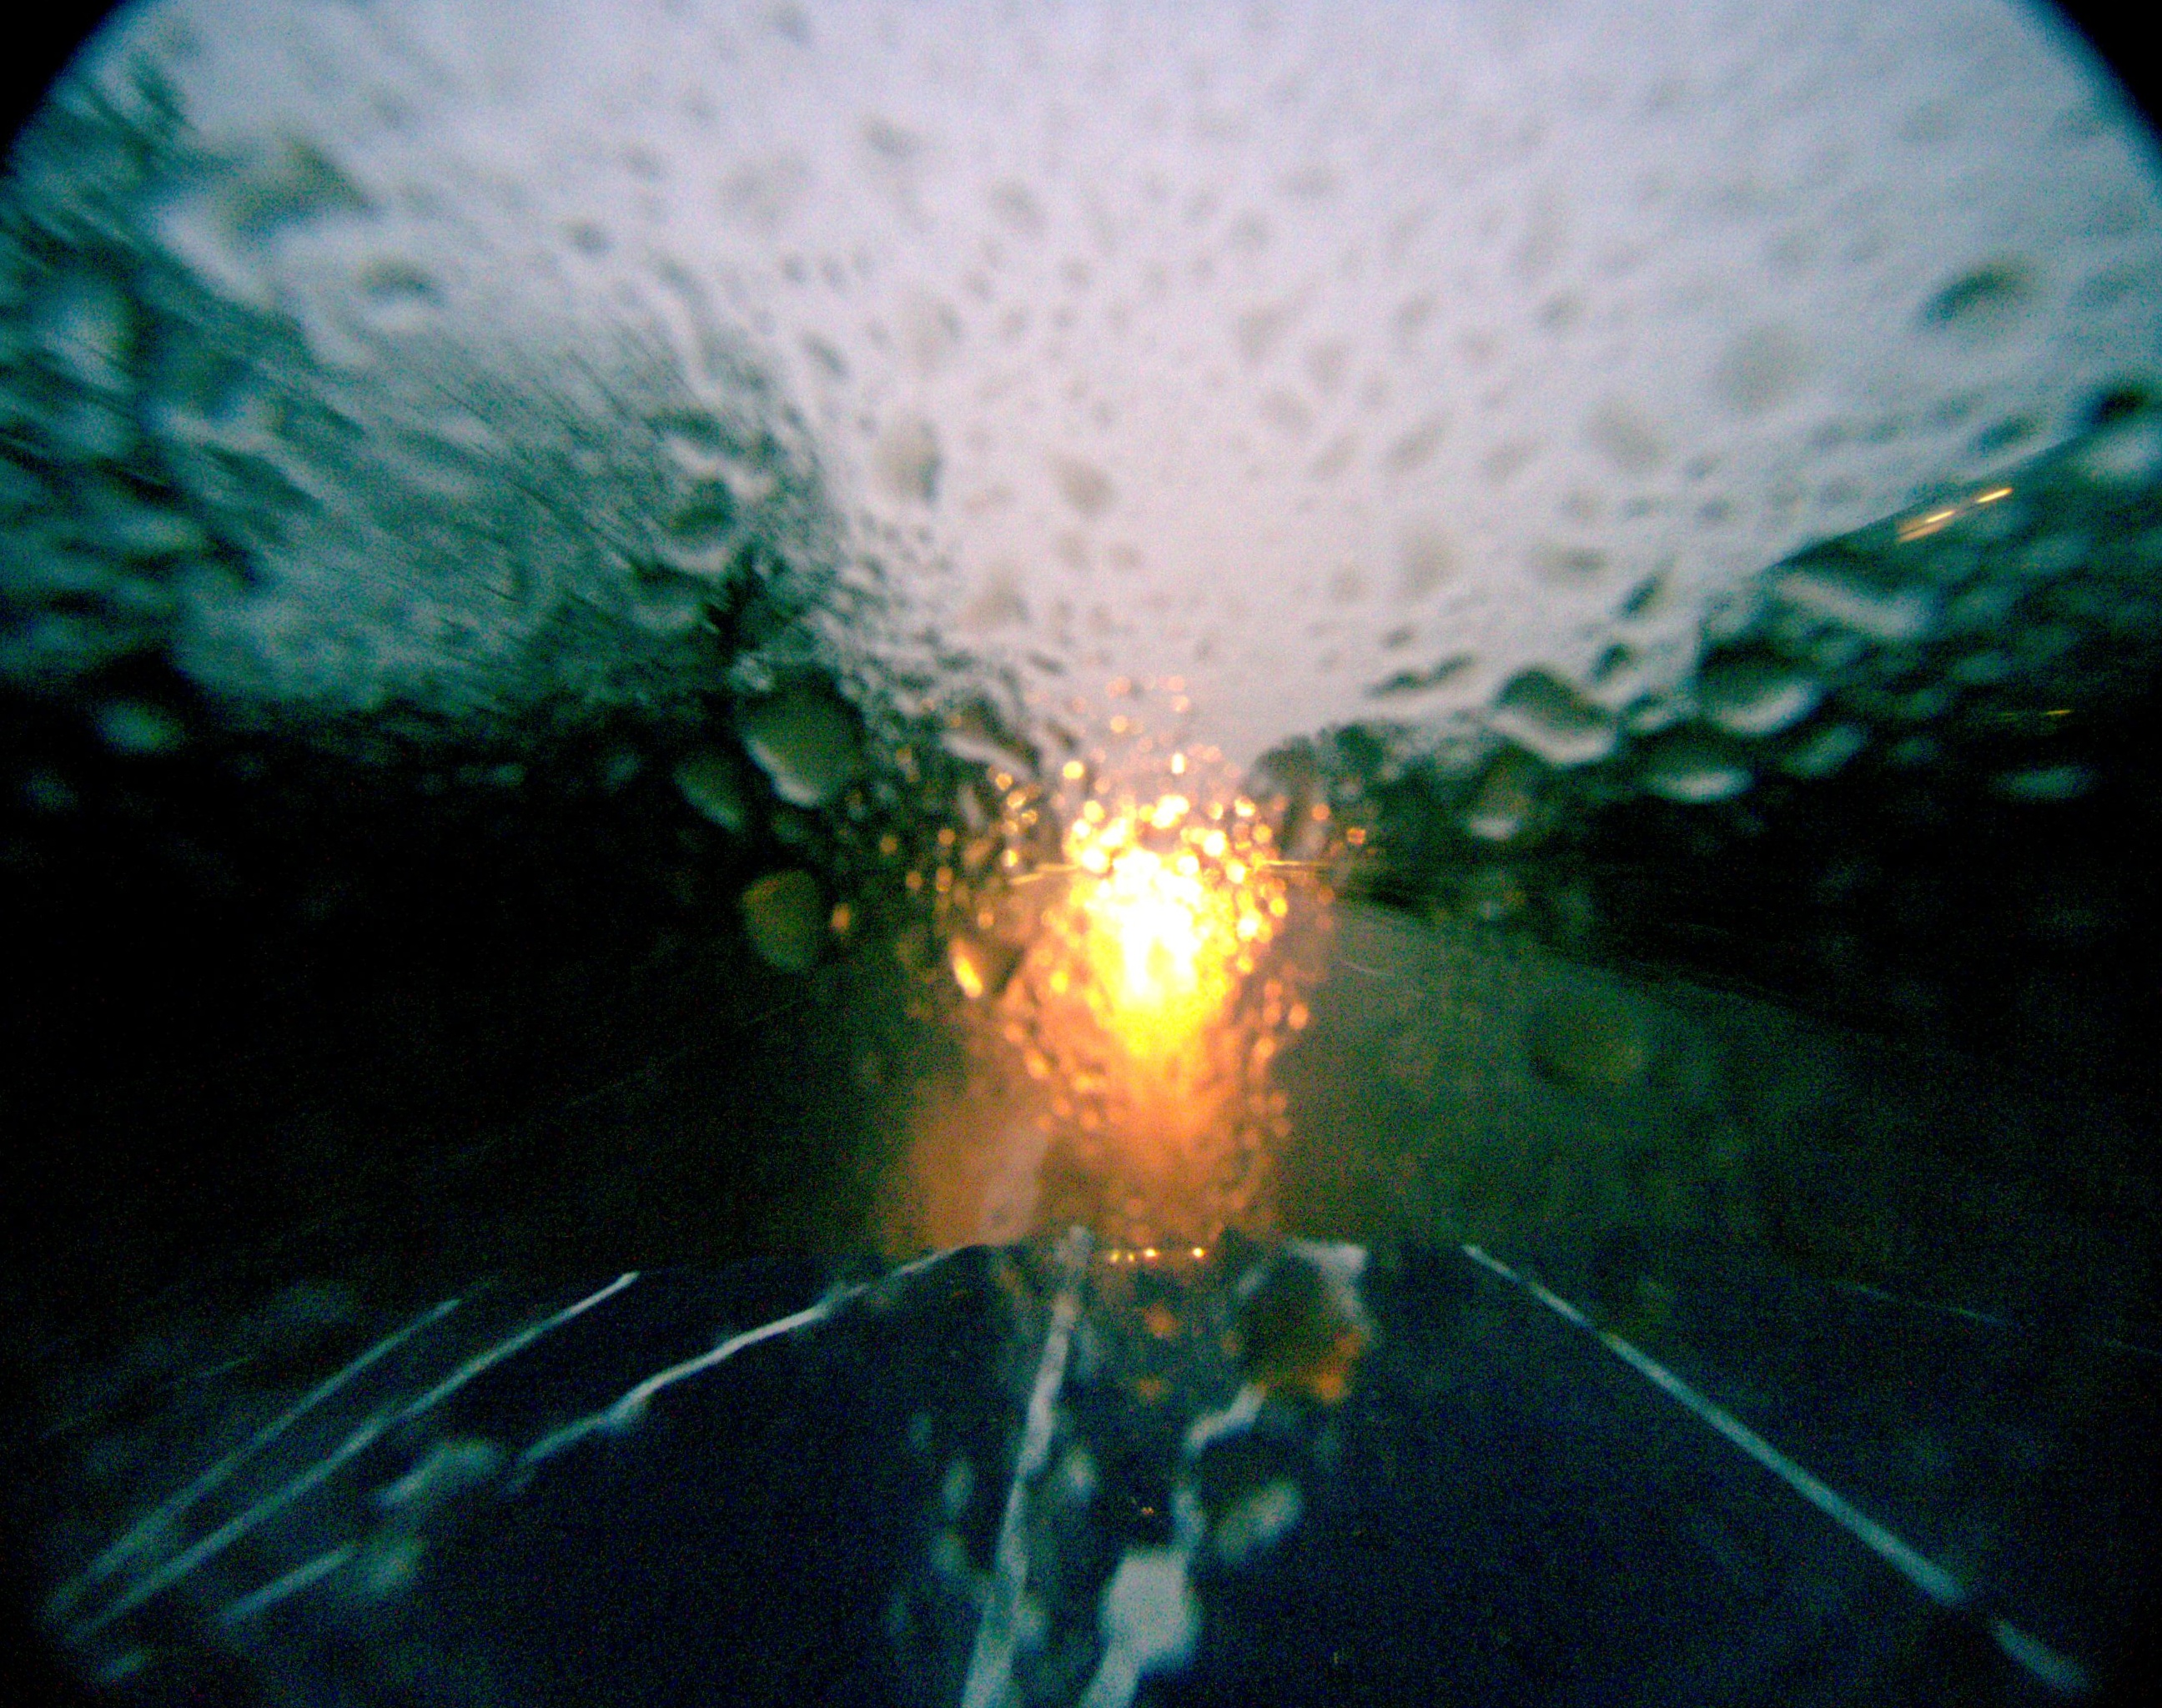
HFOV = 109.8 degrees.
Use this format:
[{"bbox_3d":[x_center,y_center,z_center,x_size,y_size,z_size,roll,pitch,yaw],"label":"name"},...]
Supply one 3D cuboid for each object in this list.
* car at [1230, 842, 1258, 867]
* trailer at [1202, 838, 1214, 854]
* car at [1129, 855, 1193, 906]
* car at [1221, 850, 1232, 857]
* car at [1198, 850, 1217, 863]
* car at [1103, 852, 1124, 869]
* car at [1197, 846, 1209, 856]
[{"bbox_3d":[15.750,0.059,73.832,1.979,2.268,5.050,-2,0,5],"label":"car"},{"bbox_3d":[42.002,-2.755,251.563,3.496,4.819,13.486,-4,0,8],"label":"trailer"},{"bbox_3d":[2.678,0.835,25.777,1.952,1.511,4.789,-1,0,5],"label":"car"},{"bbox_3d":[29.004,-0.186,151.205,1.549,1.264,4.687,-4,0,4],"label":"car"},{"bbox_3d":[17.843,0.346,107.370,1.846,1.647,4.669,-2,0,1],"label":"car"},{"bbox_3d":[3.289,0.656,77.190,1.841,1.553,3.867,-4,0,0],"label":"car"},{"bbox_3d":[33.516,-0.807,208.461,2.533,2.714,6.341,-4,0,4],"label":"car"}]
